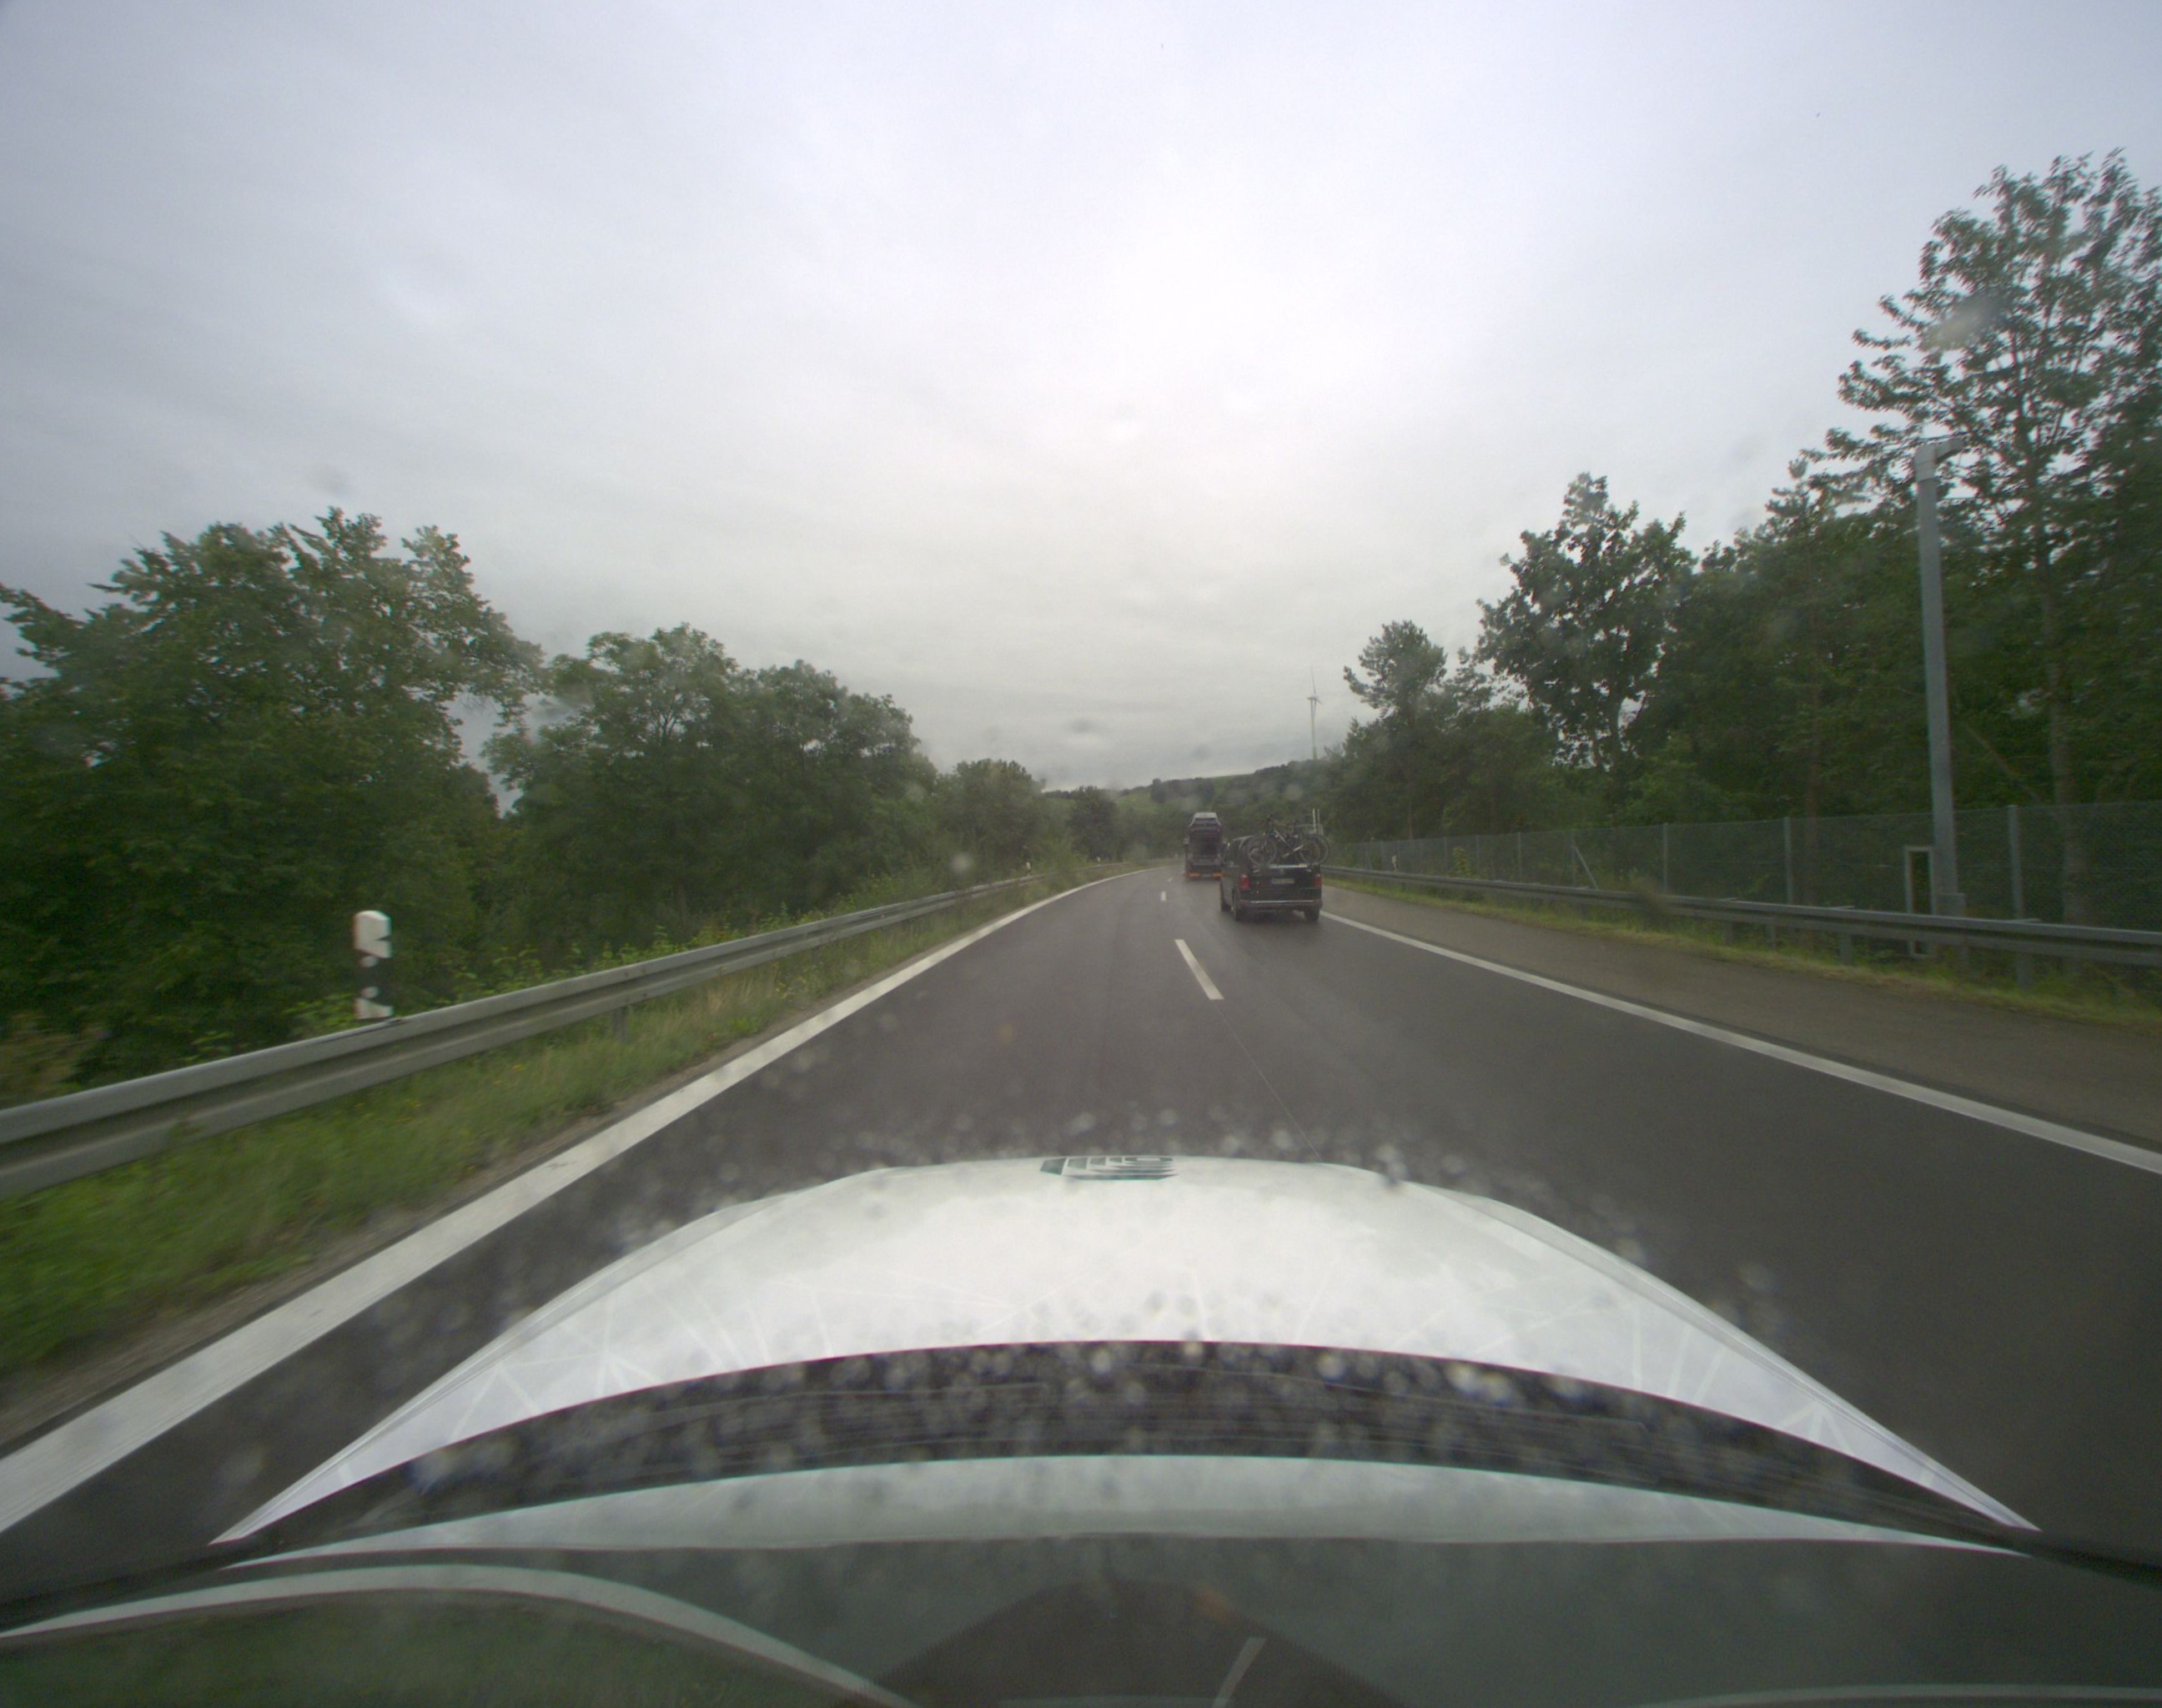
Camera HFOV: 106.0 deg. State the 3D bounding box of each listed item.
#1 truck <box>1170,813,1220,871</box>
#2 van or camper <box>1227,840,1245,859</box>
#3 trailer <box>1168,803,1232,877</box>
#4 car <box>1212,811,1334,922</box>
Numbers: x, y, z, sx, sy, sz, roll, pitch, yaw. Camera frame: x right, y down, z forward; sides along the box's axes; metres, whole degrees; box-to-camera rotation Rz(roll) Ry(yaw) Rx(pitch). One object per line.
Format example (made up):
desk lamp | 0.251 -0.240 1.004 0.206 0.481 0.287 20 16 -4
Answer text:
truck | 8.480 -0.880 61.612 3.377 3.999 10.867 0 0 6
van or camper | 18.807 -0.568 99.121 2.080 2.231 4.443 0 0 9
trailer | 7.157 -0.799 50.258 3.431 3.999 12.049 0 0 7
car | 4.406 0.227 19.683 2.100 2.264 5.906 0 1 5
